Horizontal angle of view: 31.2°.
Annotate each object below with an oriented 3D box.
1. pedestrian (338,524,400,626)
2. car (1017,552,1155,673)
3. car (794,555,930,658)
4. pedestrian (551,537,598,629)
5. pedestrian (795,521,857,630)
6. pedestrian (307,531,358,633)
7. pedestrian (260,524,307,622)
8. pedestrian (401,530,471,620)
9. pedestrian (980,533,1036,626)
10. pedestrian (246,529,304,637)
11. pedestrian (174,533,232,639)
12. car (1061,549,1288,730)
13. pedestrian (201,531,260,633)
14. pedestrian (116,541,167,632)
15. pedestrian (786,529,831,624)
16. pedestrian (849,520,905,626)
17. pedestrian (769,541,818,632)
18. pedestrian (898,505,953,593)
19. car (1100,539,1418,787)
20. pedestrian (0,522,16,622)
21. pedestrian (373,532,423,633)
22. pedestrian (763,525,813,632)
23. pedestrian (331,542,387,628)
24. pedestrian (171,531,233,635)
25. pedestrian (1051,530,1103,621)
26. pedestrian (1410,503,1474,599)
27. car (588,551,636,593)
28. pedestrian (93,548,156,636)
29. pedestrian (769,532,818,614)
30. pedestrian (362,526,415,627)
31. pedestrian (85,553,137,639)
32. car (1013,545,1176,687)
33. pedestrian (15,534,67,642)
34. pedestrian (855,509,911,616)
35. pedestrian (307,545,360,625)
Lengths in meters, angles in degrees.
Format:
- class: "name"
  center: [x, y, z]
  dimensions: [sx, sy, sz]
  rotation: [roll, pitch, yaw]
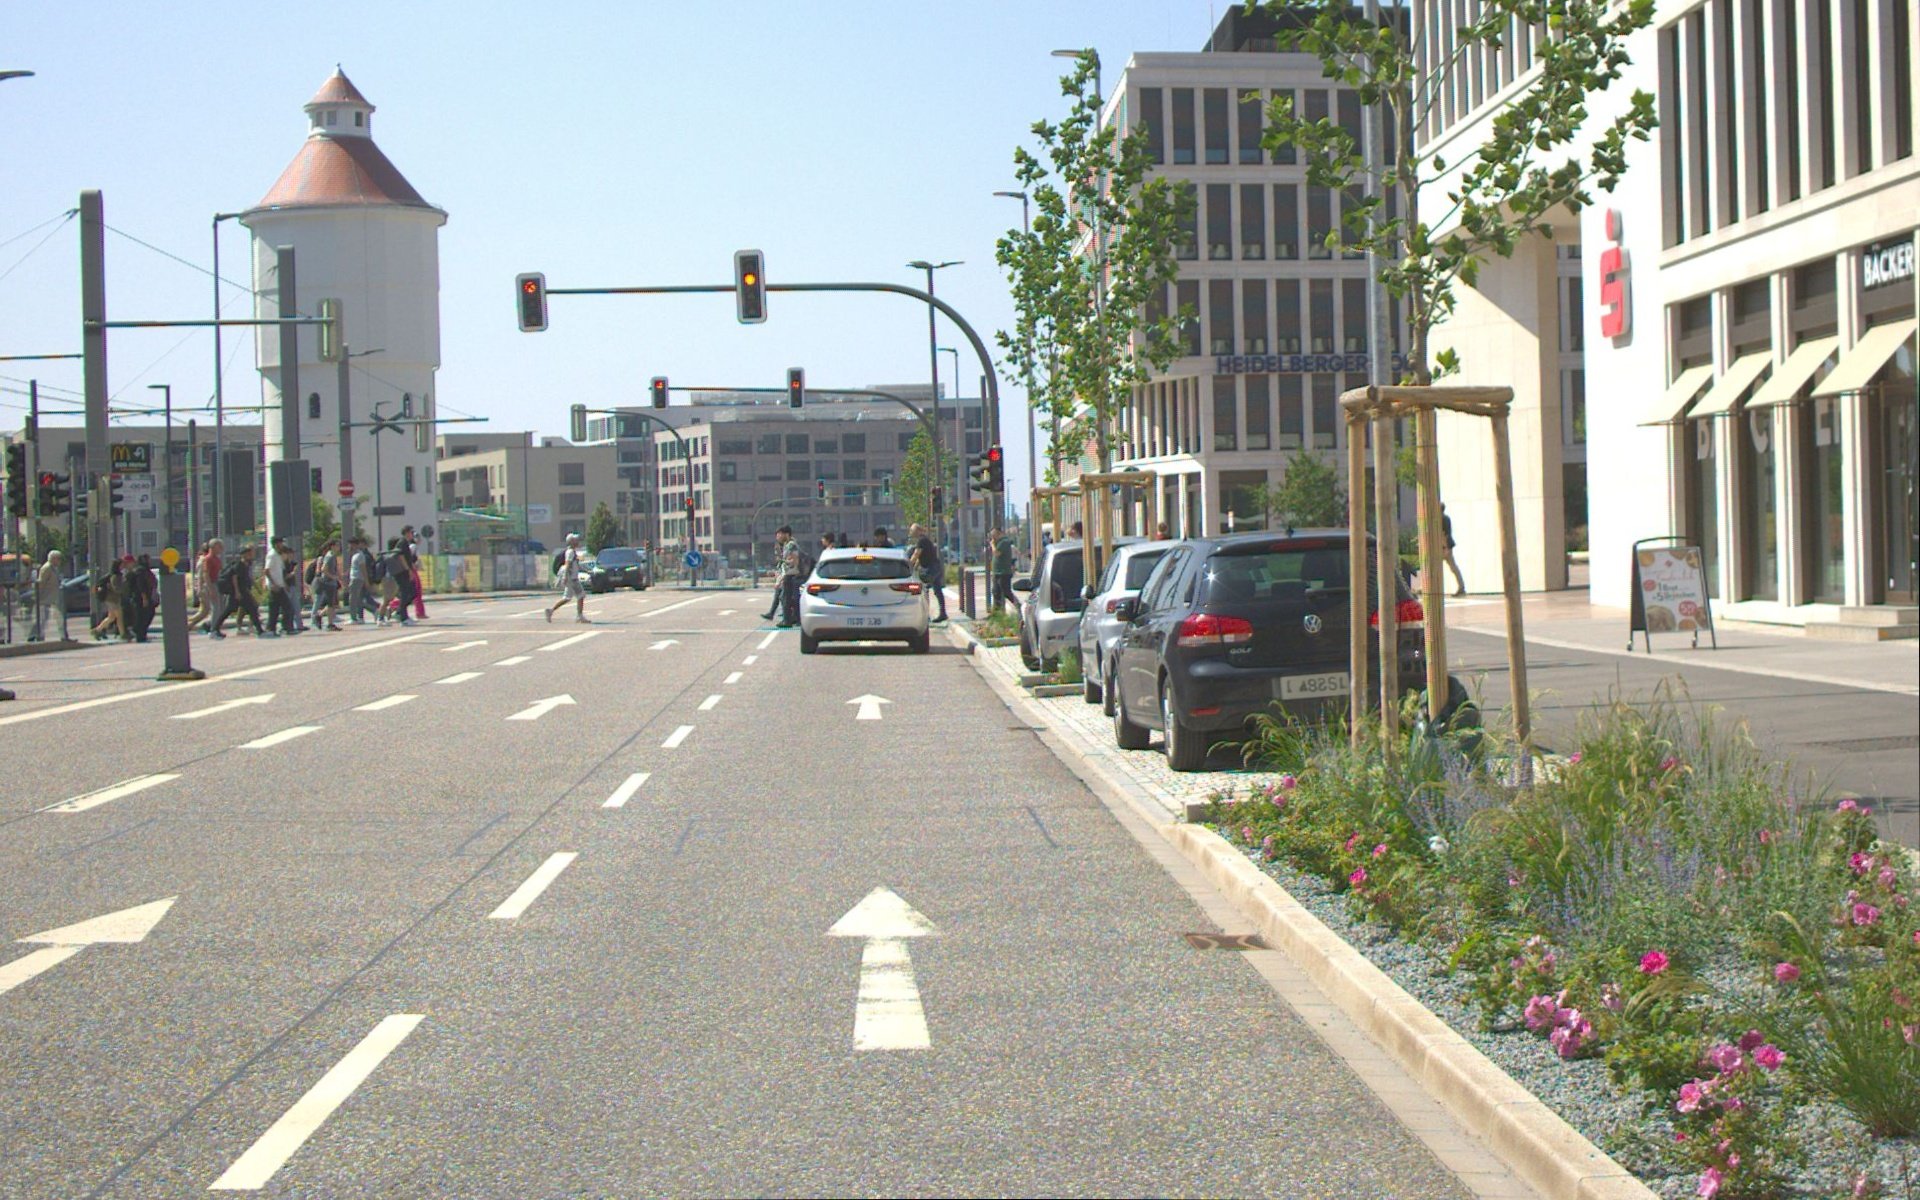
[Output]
- class: "pedestrian"
  center: [-11.897, -0.499, 69.164]
  dimensions: [1.020, 2.007, 0.954]
  rotation: [-2, 1, -19]
- class: "car"
  center: [1.542, 0.120, 43.110]
  dimensions: [1.429, 1.385, 4.000]
  rotation: [-2, 1, -2]
- class: "car"
  center: [-1.340, 0.094, 48.170]
  dimensions: [1.771, 1.390, 3.532]
  rotation: [0, 0, 0]
- class: "pedestrian"
  center: [-7.410, -0.328, 66.110]
  dimensions: [0.766, 1.728, 0.692]
  rotation: [-2, 1, 0]
- class: "pedestrian"
  center: [-2.363, -0.431, 60.540]
  dimensions: [1.013, 1.884, 0.798]
  rotation: [-2, 1, -4]
- class: "pedestrian"
  center: [-11.714, -0.339, 64.166]
  dimensions: [0.766, 1.884, 0.692]
  rotation: [-2, 1, 0]
- class: "pedestrian"
  center: [-13.067, -0.520, 66.391]
  dimensions: [0.734, 1.884, 0.713]
  rotation: [0, 1, 4]
- class: "pedestrian"
  center: [-10.860, -0.521, 71.305]
  dimensions: [1.181, 1.814, 1.068]
  rotation: [-2, 1, 3]
- class: "pedestrian"
  center: [0.860, -0.372, 61.567]
  dimensions: [0.887, 1.629, 0.692]
  rotation: [-2, 1, -6]
- class: "pedestrian"
  center: [-12.143, -0.311, 60.981]
  dimensions: [0.887, 1.884, 0.692]
  rotation: [-2, 1, -6]
- class: "pedestrian"
  center: [-13.679, -0.260, 62.158]
  dimensions: [0.887, 1.884, 0.692]
  rotation: [-2, 1, -6]
- class: "car"
  center: [1.824, 0.296, 30.227]
  dimensions: [1.605, 1.383, 3.815]
  rotation: [-3, 1, -1]
- class: "pedestrian"
  center: [-13.722, -0.351, 64.690]
  dimensions: [0.888, 1.884, 0.796]
  rotation: [-2, 1, -1]
- class: "pedestrian"
  center: [-14.723, -0.250, 61.827]
  dimensions: [0.633, 1.612, 0.768]
  rotation: [-2, 1, 4]
- class: "pedestrian"
  center: [-2.803, -0.440, 63.635]
  dimensions: [0.766, 1.728, 0.692]
  rotation: [-2, 1, 0]
- class: "pedestrian"
  center: [-1.509, -0.494, 62.250]
  dimensions: [0.887, 1.884, 0.796]
  rotation: [-2, 1, -6]
- class: "pedestrian"
  center: [-3.033, -0.252, 62.737]
  dimensions: [0.794, 1.641, 0.891]
  rotation: [-2, 1, 1]
- class: "pedestrian"
  center: [-0.662, -0.971, 65.586]
  dimensions: [0.887, 1.641, 0.796]
  rotation: [-2, 1, -11]
- class: "car"
  center: [1.906, 0.348, 22.946]
  dimensions: [1.736, 1.469, 3.980]
  rotation: [-1, 1, 0]
- class: "pedestrian"
  center: [-18.873, -0.530, 65.917]
  dimensions: [1.169, 1.883, 1.060]
  rotation: [-2, 3, 0]
- class: "pedestrian"
  center: [-10.631, -0.334, 65.051]
  dimensions: [0.766, 1.884, 0.692]
  rotation: [-2, 1, 0]
- class: "pedestrian"
  center: [-3.082, -0.395, 61.728]
  dimensions: [0.730, 1.884, 0.821]
  rotation: [-2, 1, 5]
- class: "pedestrian"
  center: [-11.909, -0.306, 68.131]
  dimensions: [0.893, 1.668, 1.013]
  rotation: [-2, 1, -19]
- class: "pedestrian"
  center: [-14.053, -0.316, 63.757]
  dimensions: [0.888, 1.884, 0.796]
  rotation: [-2, 1, 4]
- class: "pedestrian"
  center: [2.129, -0.448, 62.610]
  dimensions: [0.767, 1.614, 0.691]
  rotation: [-1, 1, 15]
- class: "pedestrian"
  center: [8.461, -0.862, 60.352]
  dimensions: [0.990, 1.649, 0.692]
  rotation: [-2, 1, 0]
- class: "car"
  center: [-13.319, -1.062, 131.629]
  dimensions: [1.586, 1.525, 3.693]
  rotation: [-1, 0, -3]
- class: "pedestrian"
  center: [-15.914, -0.151, 65.471]
  dimensions: [0.910, 1.631, 0.814]
  rotation: [-2, 1, 4]
- class: "pedestrian"
  center: [-3.441, -0.562, 70.946]
  dimensions: [0.888, 1.641, 0.796]
  rotation: [-2, 1, 3]
- class: "pedestrian"
  center: [-10.952, -0.454, 65.931]
  dimensions: [0.841, 1.884, 0.692]
  rotation: [-2, 1, 0]
- class: "pedestrian"
  center: [-15.674, -0.077, 63.468]
  dimensions: [0.728, 1.570, 0.641]
  rotation: [-2, 1, 4]
- class: "car"
  center: [1.459, 0.141, 38.355]
  dimensions: [1.556, 1.467, 3.470]
  rotation: [-2, 1, -2]
- class: "pedestrian"
  center: [-16.314, -0.221, 61.035]
  dimensions: [0.636, 1.884, 0.796]
  rotation: [-2, 1, 0]
- class: "pedestrian"
  center: [-1.376, -0.671, 61.417]
  dimensions: [0.887, 1.884, 0.796]
  rotation: [-2, 1, -6]
- class: "pedestrian"
  center: [-13.051, -0.314, 71.651]
  dimensions: [0.888, 1.641, 0.796]
  rotation: [-2, 1, 3]
